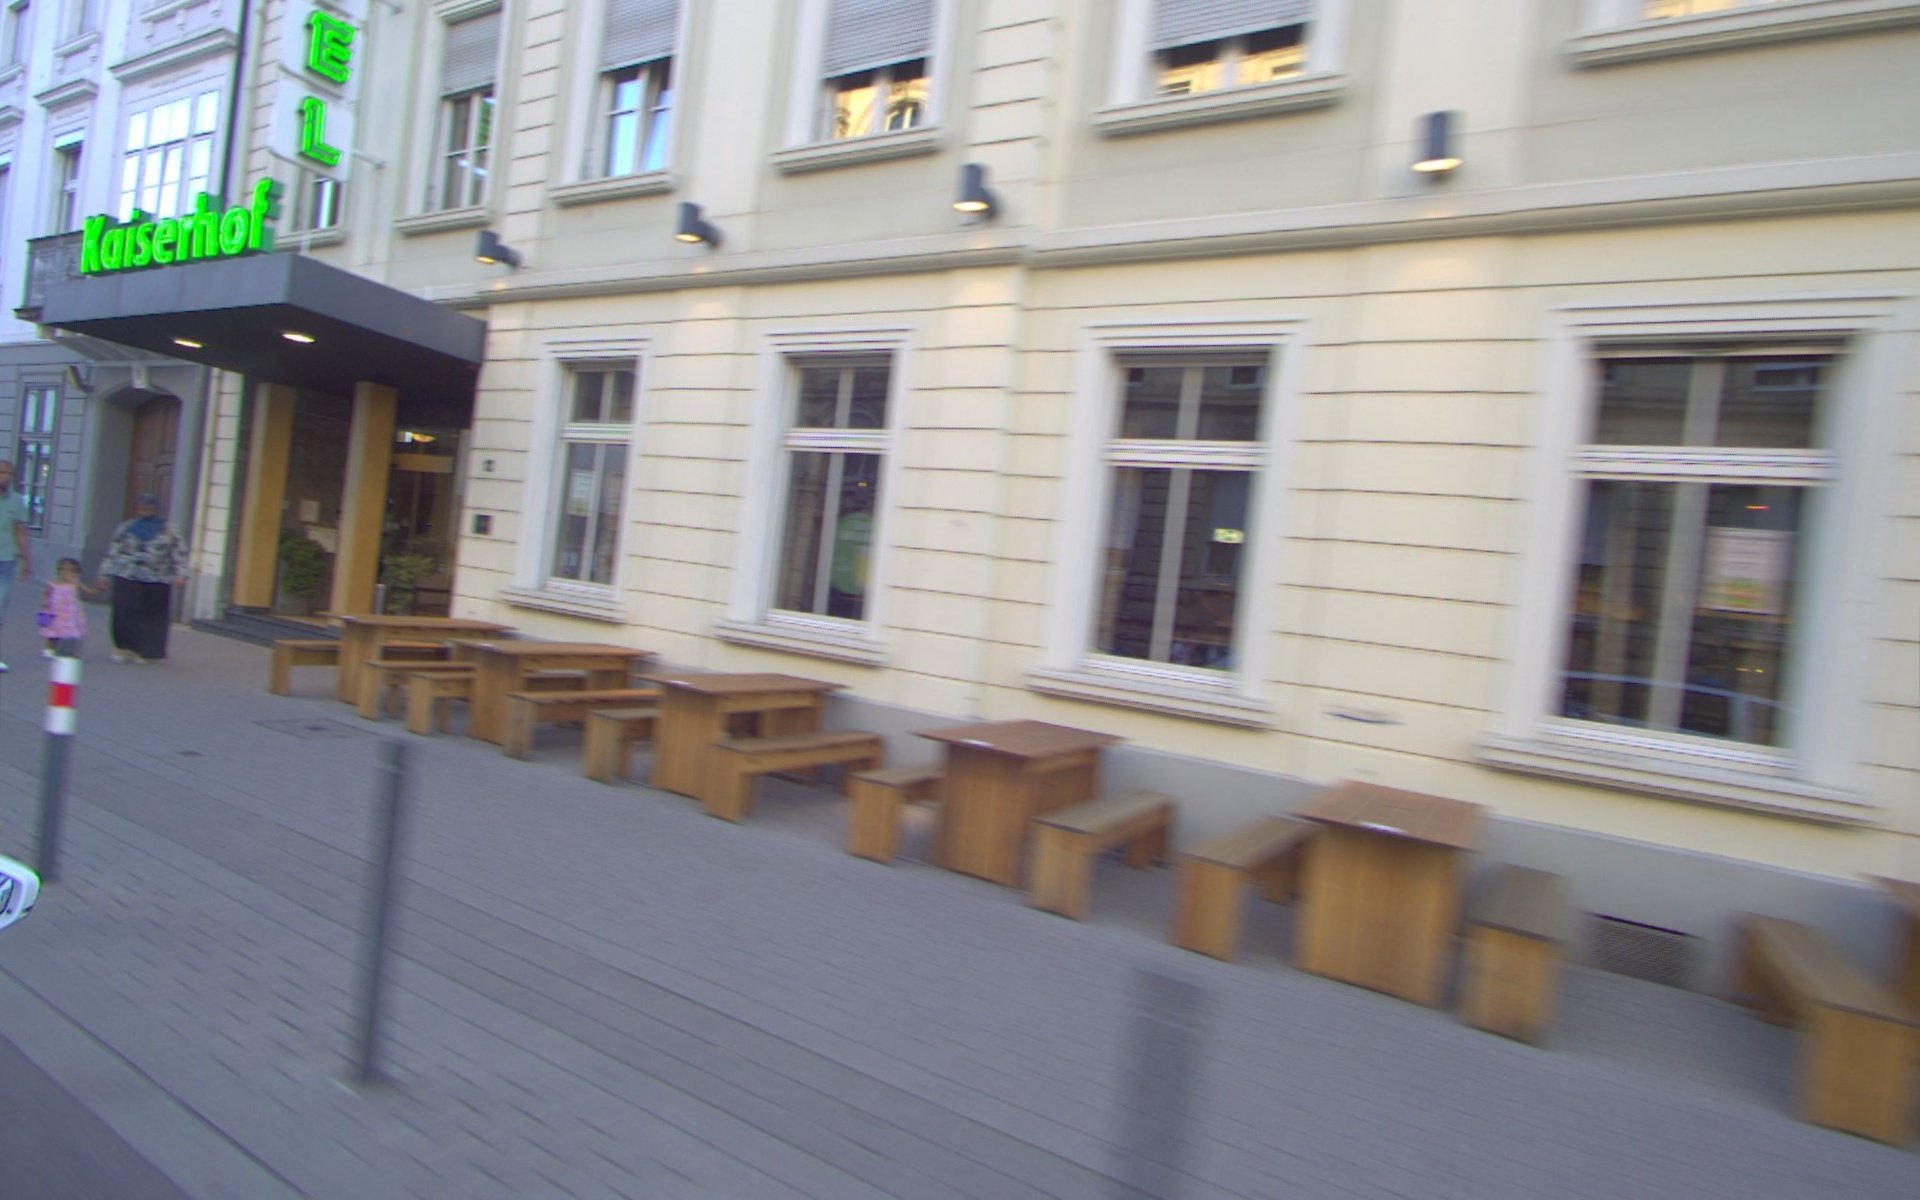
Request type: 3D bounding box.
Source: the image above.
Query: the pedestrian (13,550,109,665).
[{"bbox_3d":[-8.372,0.075,9.371,0.549,0.992,0.460,7,1,31],"label":"pedestrian"}]

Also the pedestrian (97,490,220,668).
[{"bbox_3d":[-7.737,-0.189,9.719,0.604,1.621,0.630,7,1,31],"label":"pedestrian"}]

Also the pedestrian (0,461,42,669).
[{"bbox_3d":[-8.391,-0.323,8.553,0.549,1.751,0.608,7,1,31],"label":"pedestrian"}]
